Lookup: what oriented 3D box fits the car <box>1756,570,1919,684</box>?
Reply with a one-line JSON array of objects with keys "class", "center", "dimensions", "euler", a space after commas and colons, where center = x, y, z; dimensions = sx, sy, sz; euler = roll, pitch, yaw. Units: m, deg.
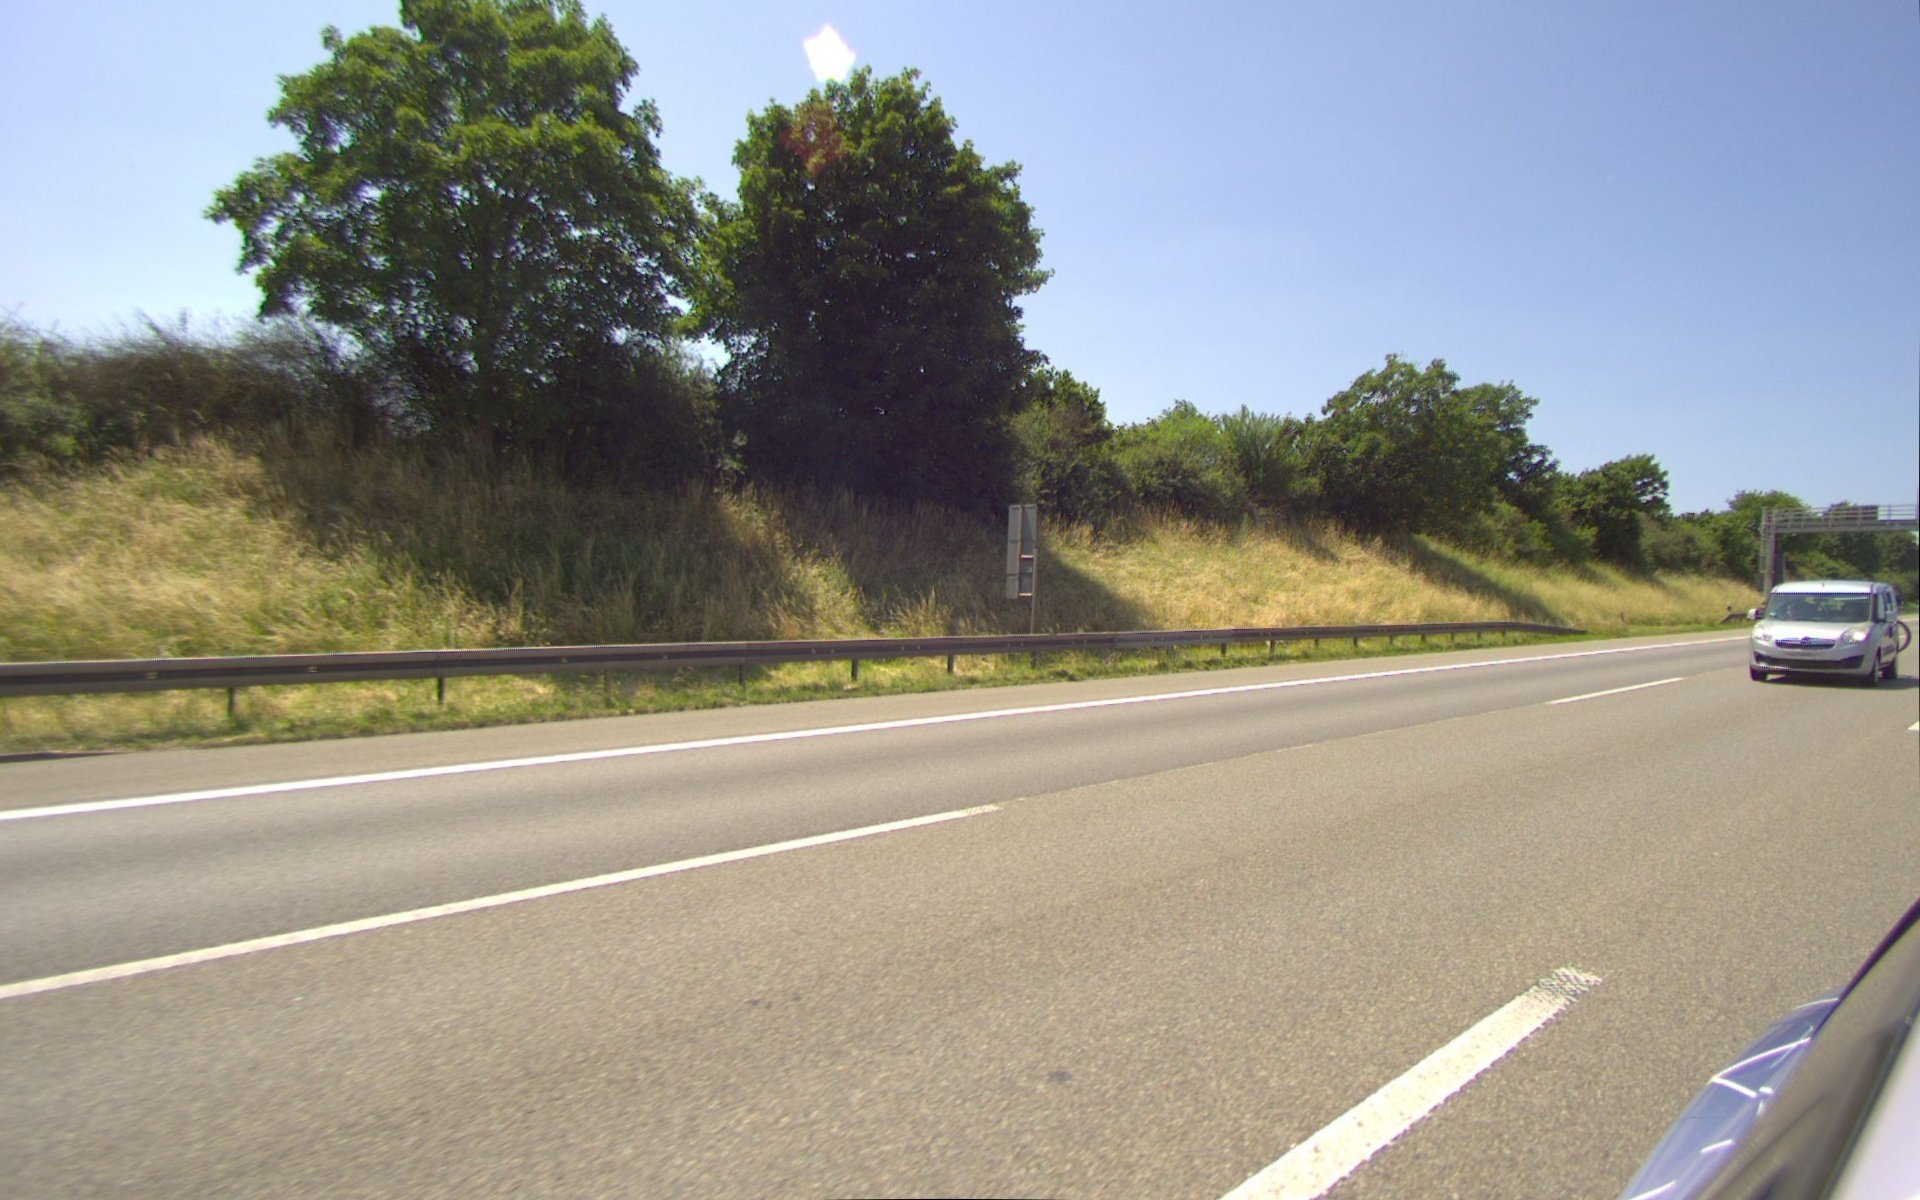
[{"class": "car", "center": [16.607, 0.434, 18.959], "dimensions": [5.220, 1.870, 1.810], "euler": [0, 0, -42]}]
